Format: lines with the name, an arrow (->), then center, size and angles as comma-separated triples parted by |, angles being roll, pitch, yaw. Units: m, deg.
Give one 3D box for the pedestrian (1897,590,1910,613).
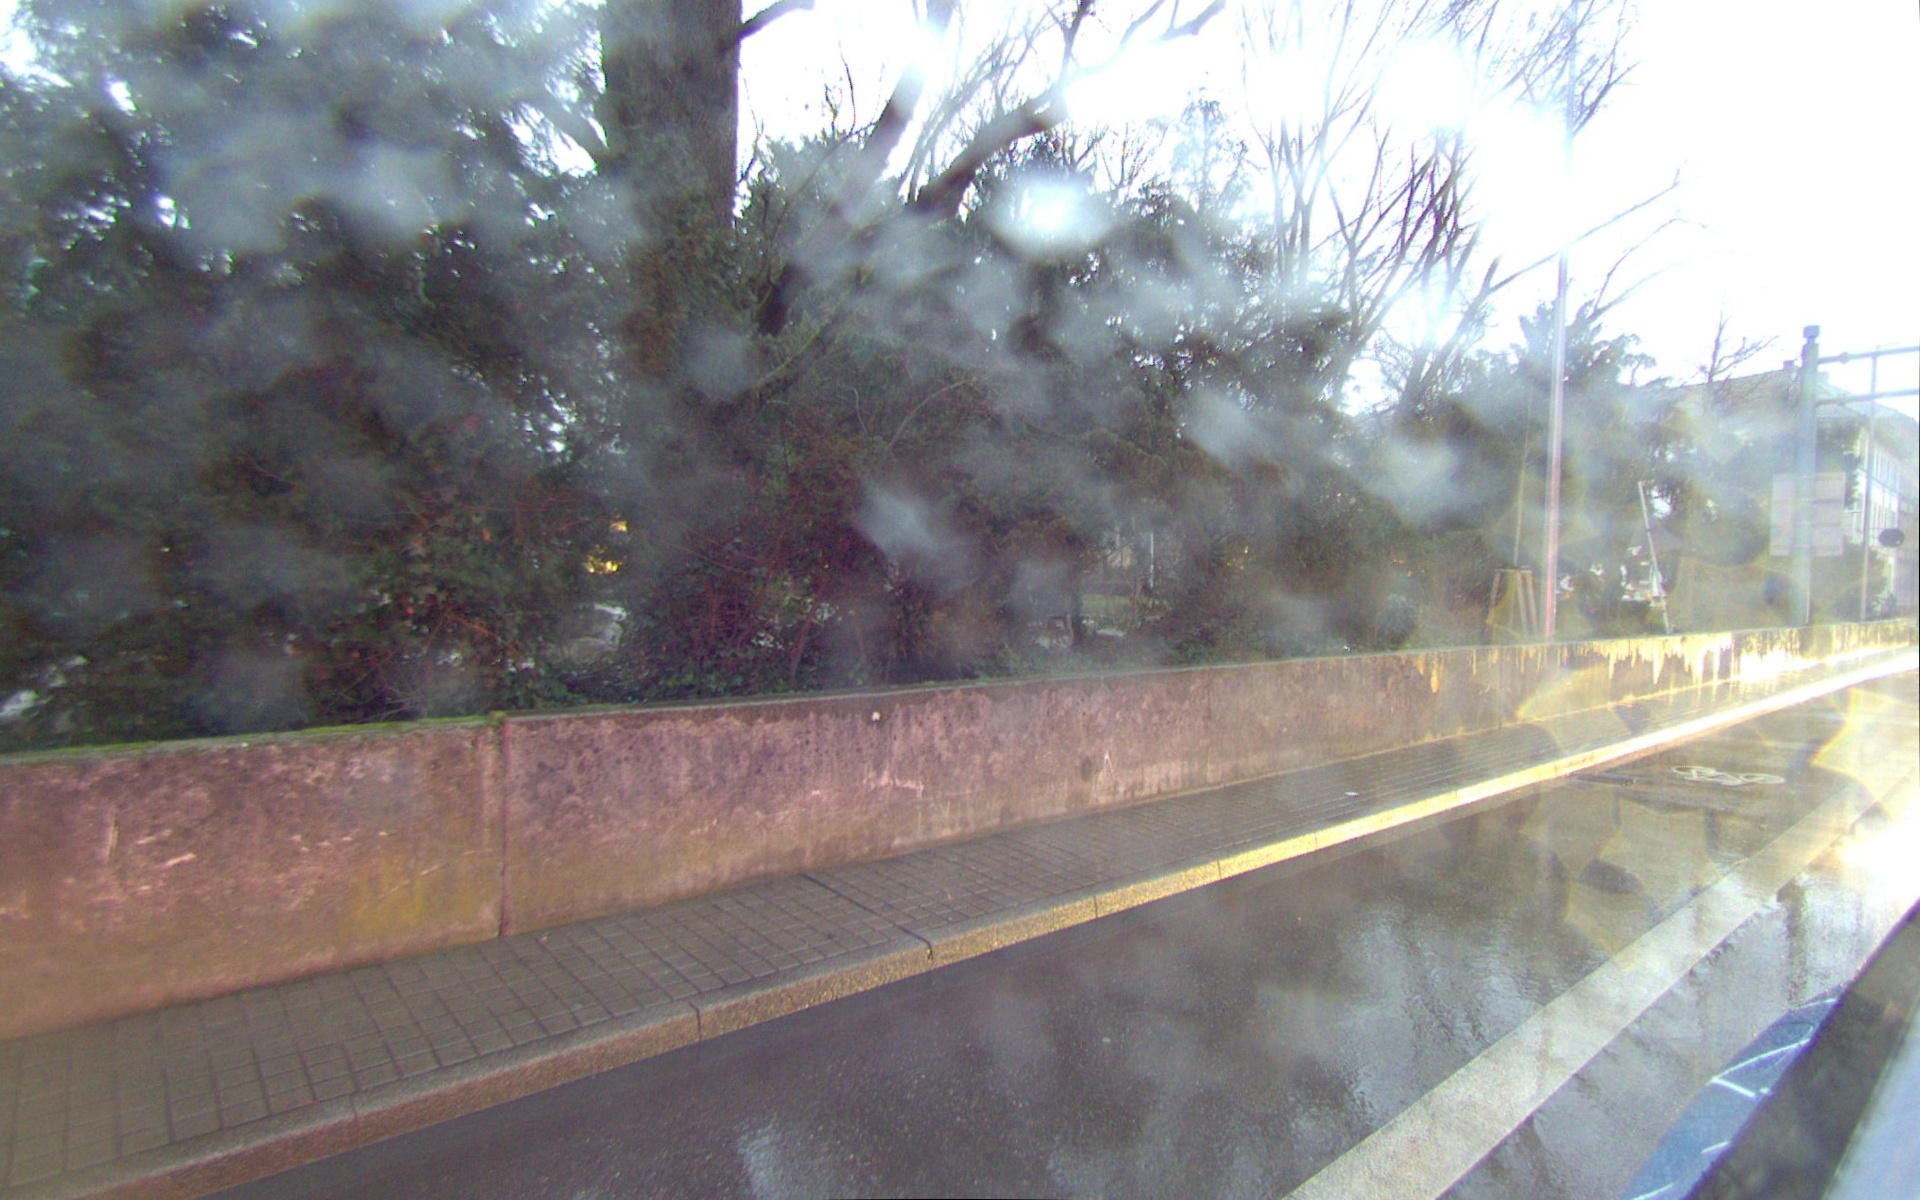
pedestrian -> 64.508, 0.116, 69.207 | 0.577, 1.529, 0.520 | 1, 2, -41
